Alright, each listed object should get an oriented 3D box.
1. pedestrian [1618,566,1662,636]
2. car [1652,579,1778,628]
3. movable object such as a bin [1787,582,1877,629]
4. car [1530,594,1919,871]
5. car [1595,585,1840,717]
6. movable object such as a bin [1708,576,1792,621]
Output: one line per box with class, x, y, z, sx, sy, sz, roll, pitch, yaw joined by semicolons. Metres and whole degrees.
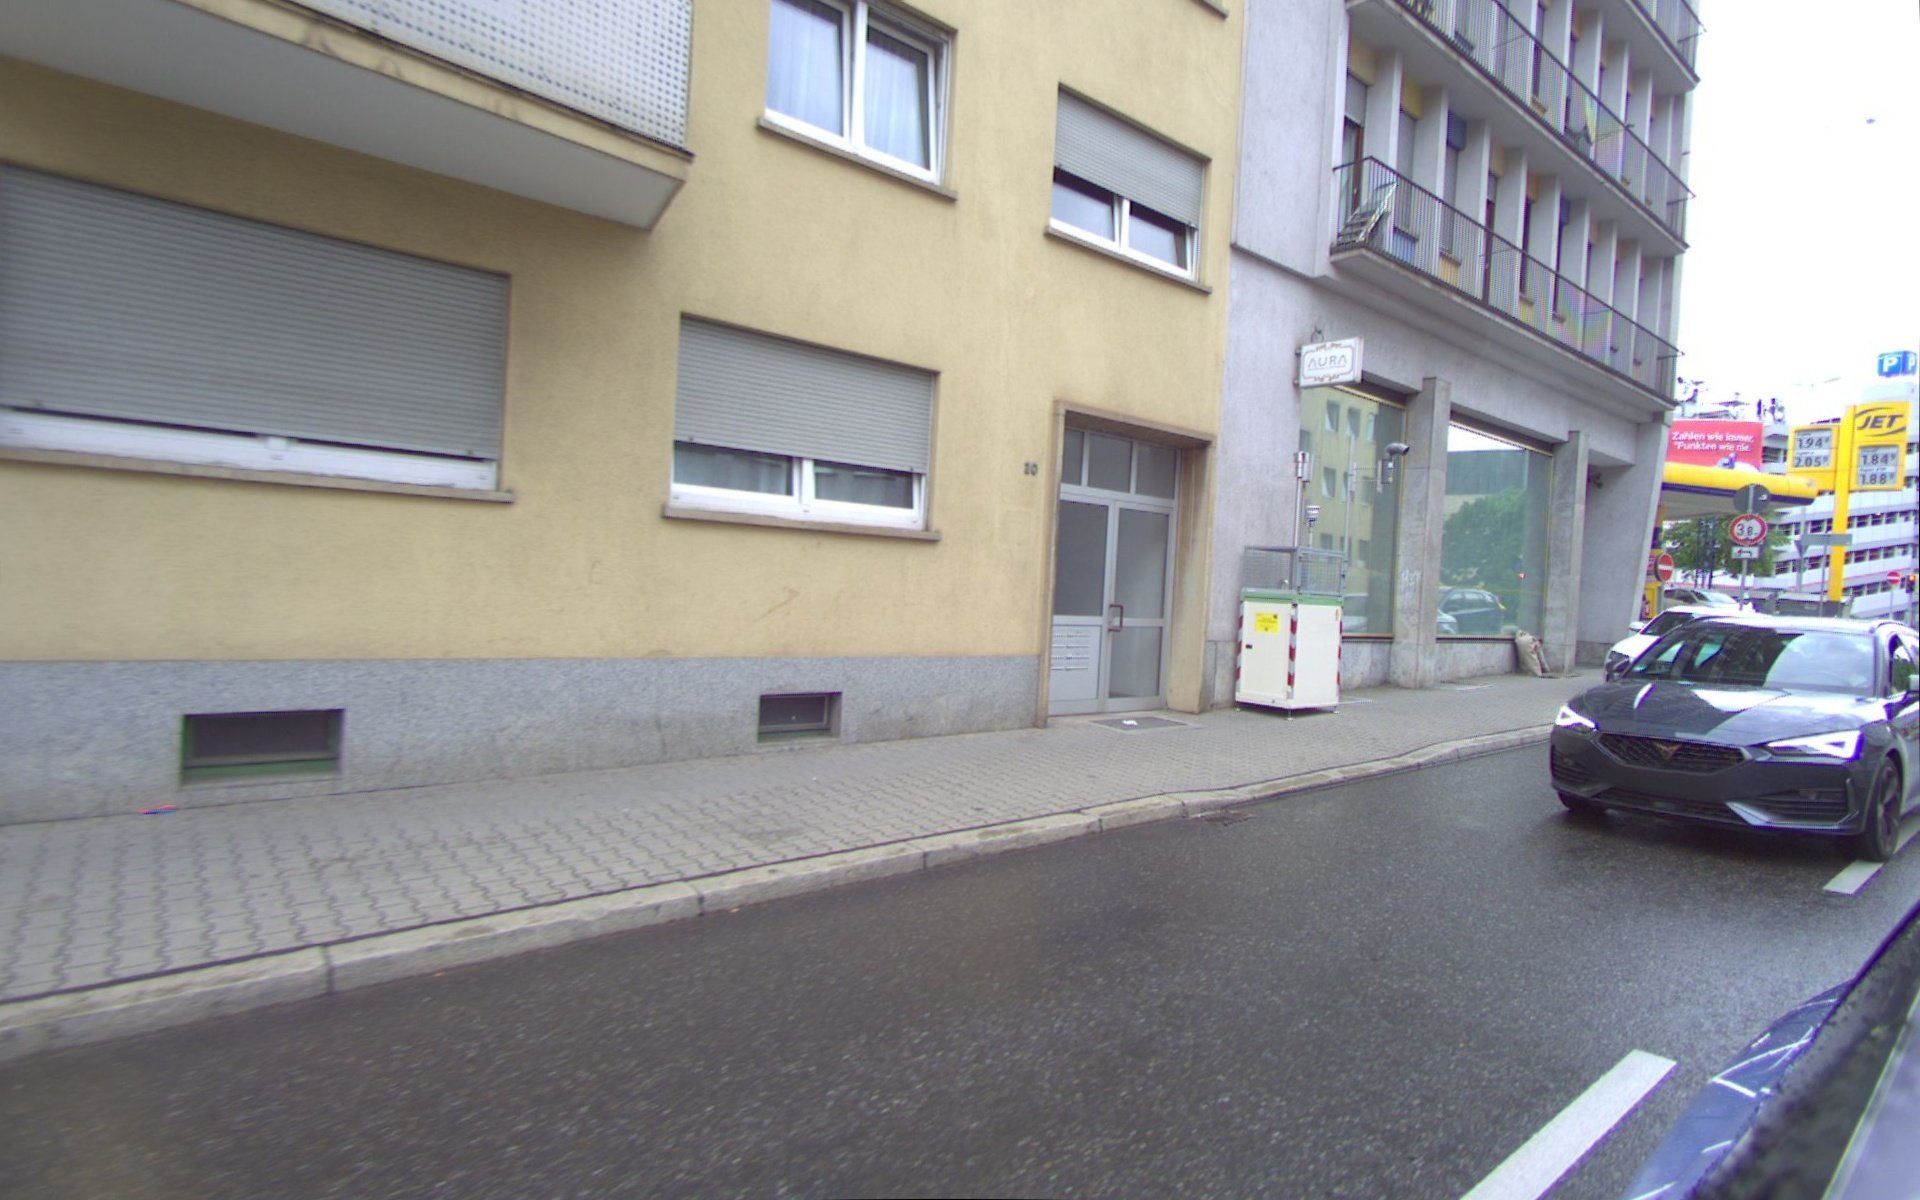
pedestrian;18.061;0.023;26.891;0.649;1.792;0.529;4;4;8
car;27.641;0.078;37.246;1.715;1.459;3.998;4;4;4
movable object such as a bin;32.427;0.193;37.649;1.741;1.593;2.162;1;3;-39
car;6.061;0.718;7.332;4.498;1.405;1.739;1;1;-38
car;11.181;0.657;14.821;4.529;1.418;1.899;1;7;-42
movable object such as a bin;30.822;-0.055;39.501;1.741;1.574;2.162;1;4;-39
